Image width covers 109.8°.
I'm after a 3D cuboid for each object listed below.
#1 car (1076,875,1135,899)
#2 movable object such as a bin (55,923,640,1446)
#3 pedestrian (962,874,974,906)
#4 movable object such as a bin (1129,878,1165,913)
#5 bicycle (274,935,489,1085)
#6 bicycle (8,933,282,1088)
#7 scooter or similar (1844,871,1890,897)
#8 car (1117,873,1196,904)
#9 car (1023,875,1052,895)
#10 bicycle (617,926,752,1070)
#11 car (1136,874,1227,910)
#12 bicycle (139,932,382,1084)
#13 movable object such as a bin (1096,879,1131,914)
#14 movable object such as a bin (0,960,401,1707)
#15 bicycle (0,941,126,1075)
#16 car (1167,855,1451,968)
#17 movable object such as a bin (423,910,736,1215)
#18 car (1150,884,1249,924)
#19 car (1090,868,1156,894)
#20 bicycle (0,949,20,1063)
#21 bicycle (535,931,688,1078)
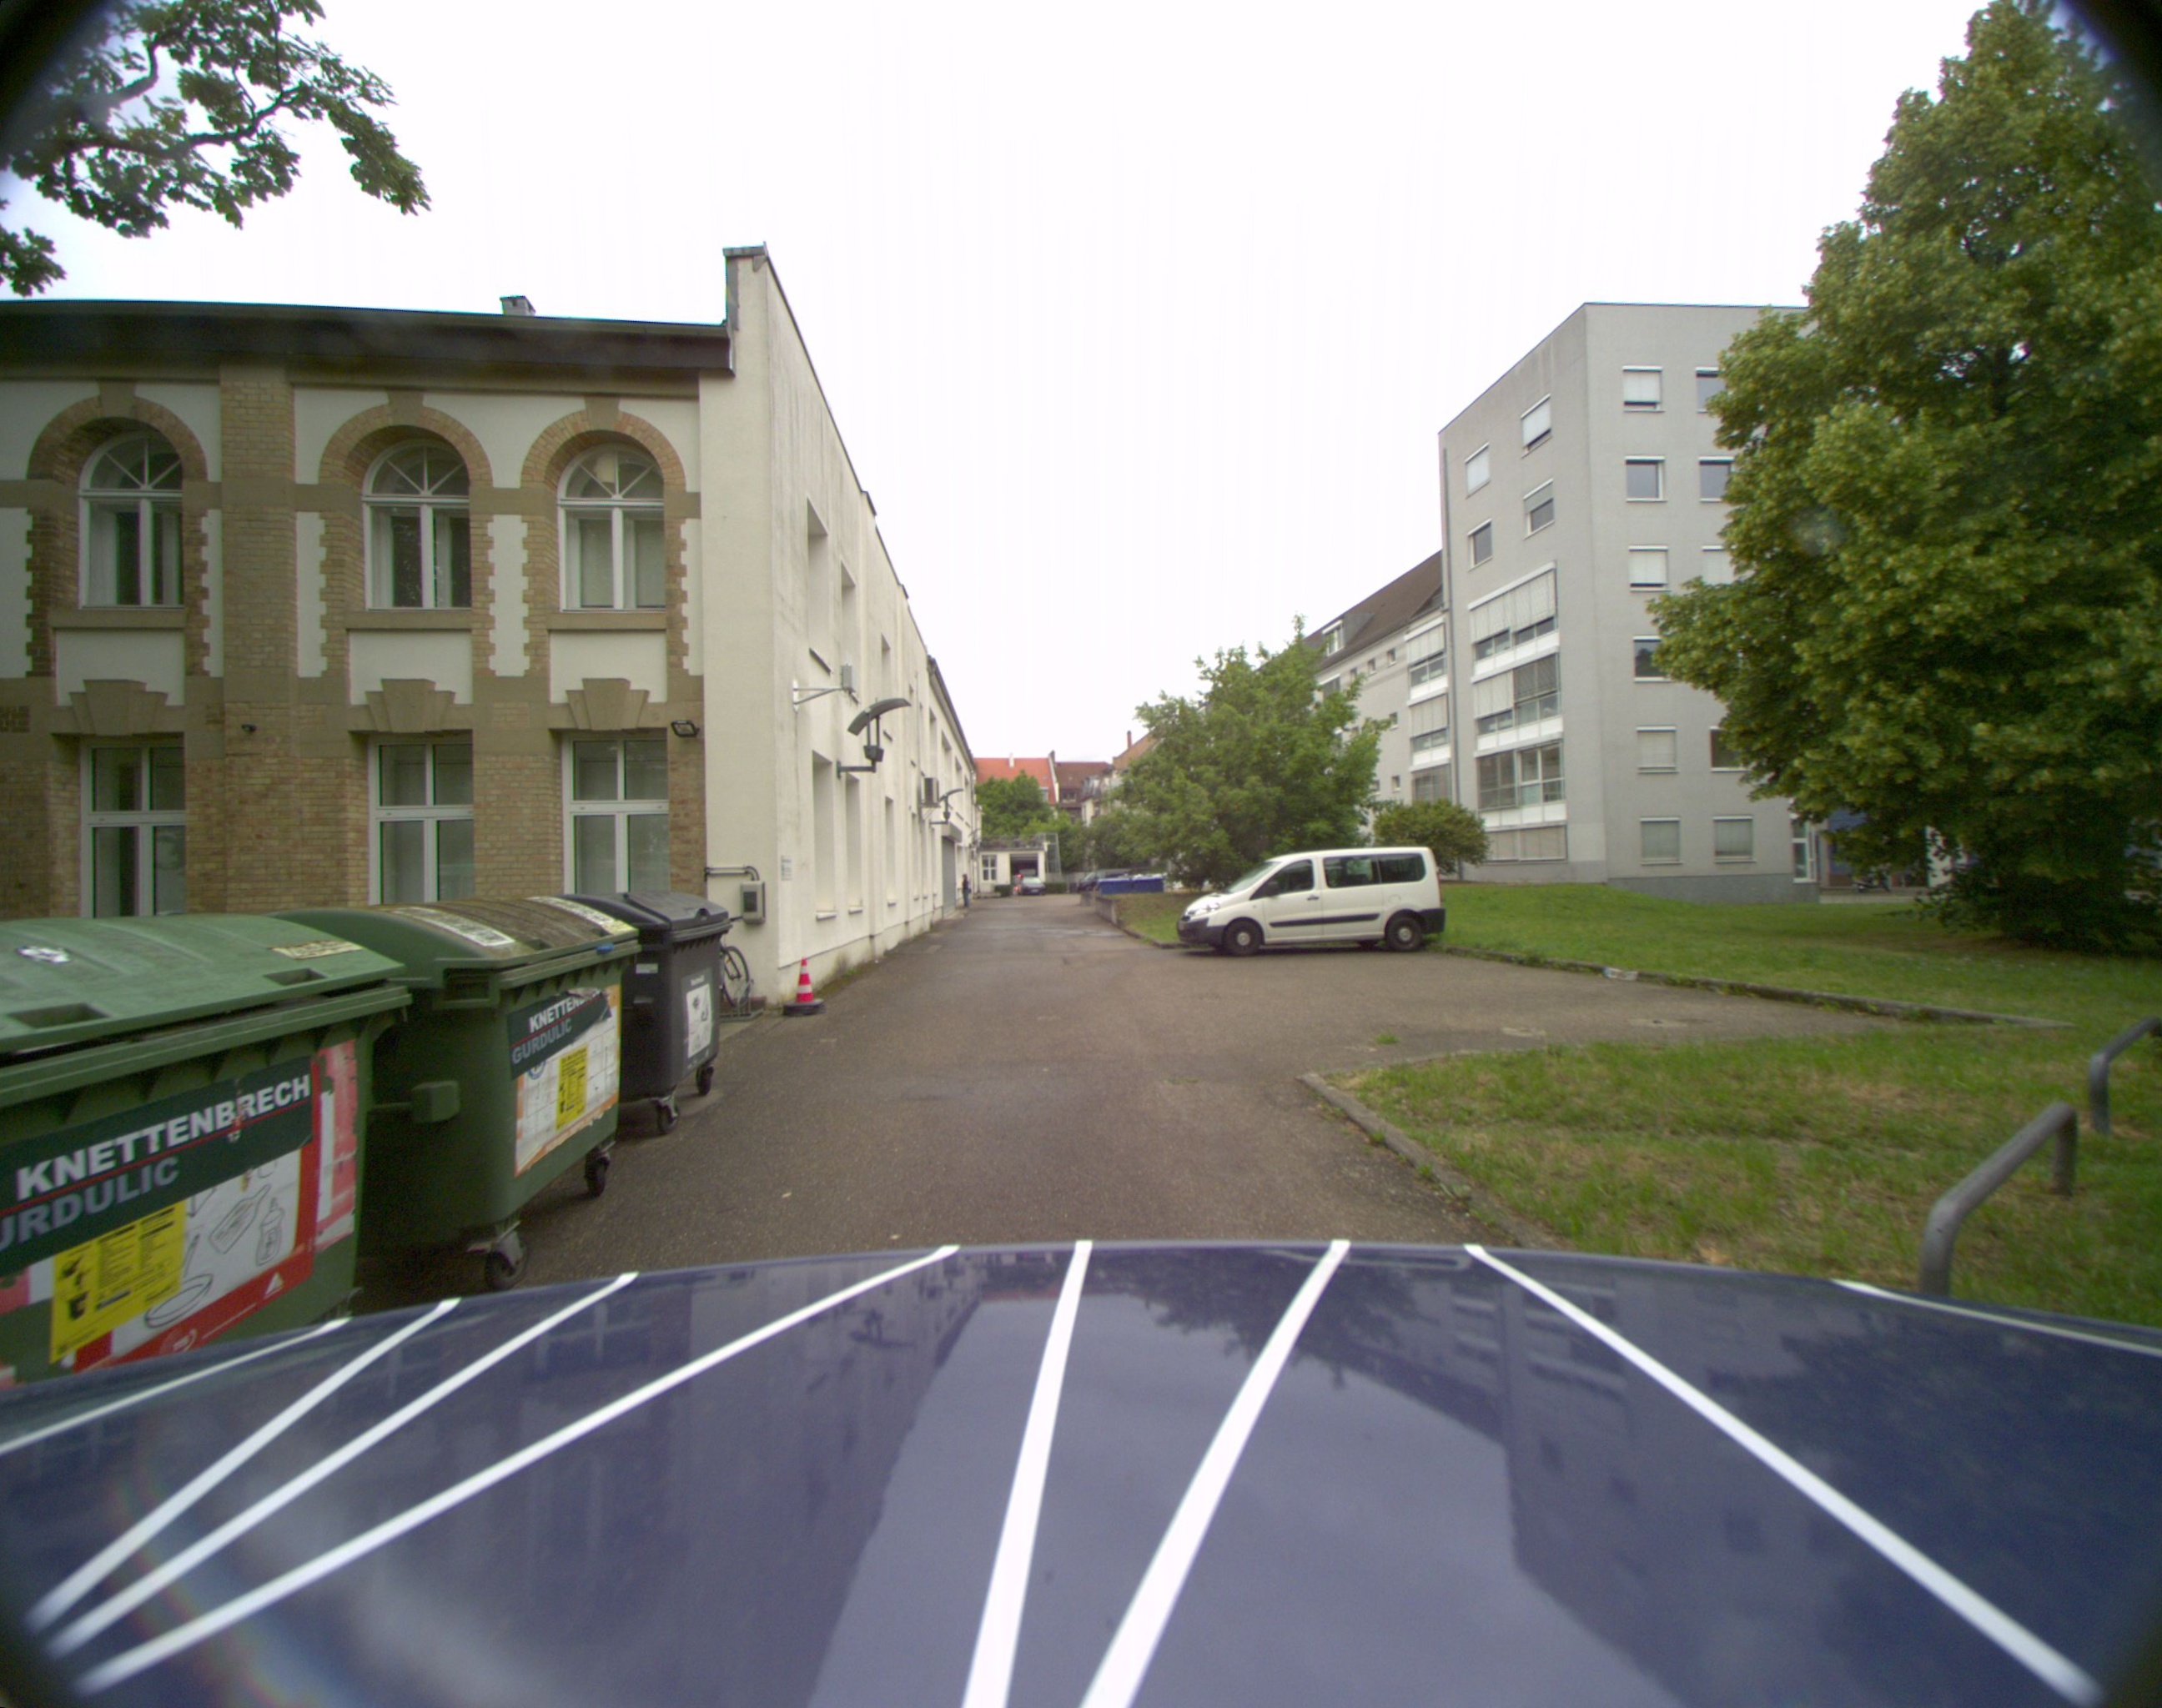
[{"bbox_3d":[1.924,2.576,60.042,4.342,1.724,1.998,-1,-1,-11],"label":"car"},{"bbox_3d":[-2.653,1.063,3.046,1.109,1.441,1.326,-2,-1,-10],"label":"movable object such as a bin"},{"bbox_3d":[-5.477,1.740,36.830,0.499,1.553,0.429,-1,0,-11],"label":"pedestrian"},{"bbox_3d":[2.607,1.630,30.086,1.180,1.299,1.227,-2,-2,-6],"label":"movable object such as a bin"},{"bbox_3d":[-6.622,1.416,7.325,0.460,1.108,1.745,-1,-1,-1],"label":"bicycle"},{"bbox_3d":[-8.653,1.384,7.151,0.460,1.108,1.744,-1,-1,-3],"label":"bicycle"},{"bbox_3d":[38.529,1.463,37.246,2.521,1.180,0.795,-1,0,-26],"label":"scooter or similar"},{"bbox_3d":[4.543,2.053,45.952,4.342,1.724,1.998,-1,-1,-11],"label":"car"},{"bbox_3d":[-3.431,2.400,59.793,1.920,1.390,3.997,-2,0,-8],"label":"car"},{"bbox_3d":[-3.828,1.333,7.484,0.460,1.108,1.744,-1,-1,-3],"label":"bicycle"},{"bbox_3d":[5.320,1.993,40.382,4.342,1.724,1.998,-1,-1,-11],"label":"car"},{"bbox_3d":[-7.649,1.375,7.212,0.460,1.108,1.744,-1,-1,-3],"label":"bicycle"},{"bbox_3d":[1.252,1.663,29.867,1.180,1.299,1.227,-2,-2,-6],"label":"movable object such as a bin"},{"bbox_3d":[-2.597,1.053,1.646,1.109,1.441,1.294,-2,-1,-8],"label":"movable object such as a bin"},{"bbox_3d":[-9.925,1.429,6.855,0.460,1.108,1.744,-1,-1,-3],"label":"bicycle"},{"bbox_3d":[4.210,1.074,14.559,4.771,1.861,1.902,-2,-3,-3],"label":"car"},{"bbox_3d":[-2.907,1.118,4.639,1.109,1.441,1.361,-2,-1,-10],"label":"movable object such as a bin"},{"bbox_3d":[5.750,2.416,37.126,4.342,1.724,1.998,-1,-1,-11],"label":"car"},{"bbox_3d":[3.003,1.969,55.019,4.342,1.724,1.998,-1,-1,-11],"label":"car"},{"bbox_3d":[-10.932,1.507,6.805,0.460,1.108,1.744,-1,-1,-3],"label":"bicycle"},{"bbox_3d":[-4.524,1.394,7.465,0.460,1.108,1.744,-1,-1,-3],"label":"bicycle"}]
